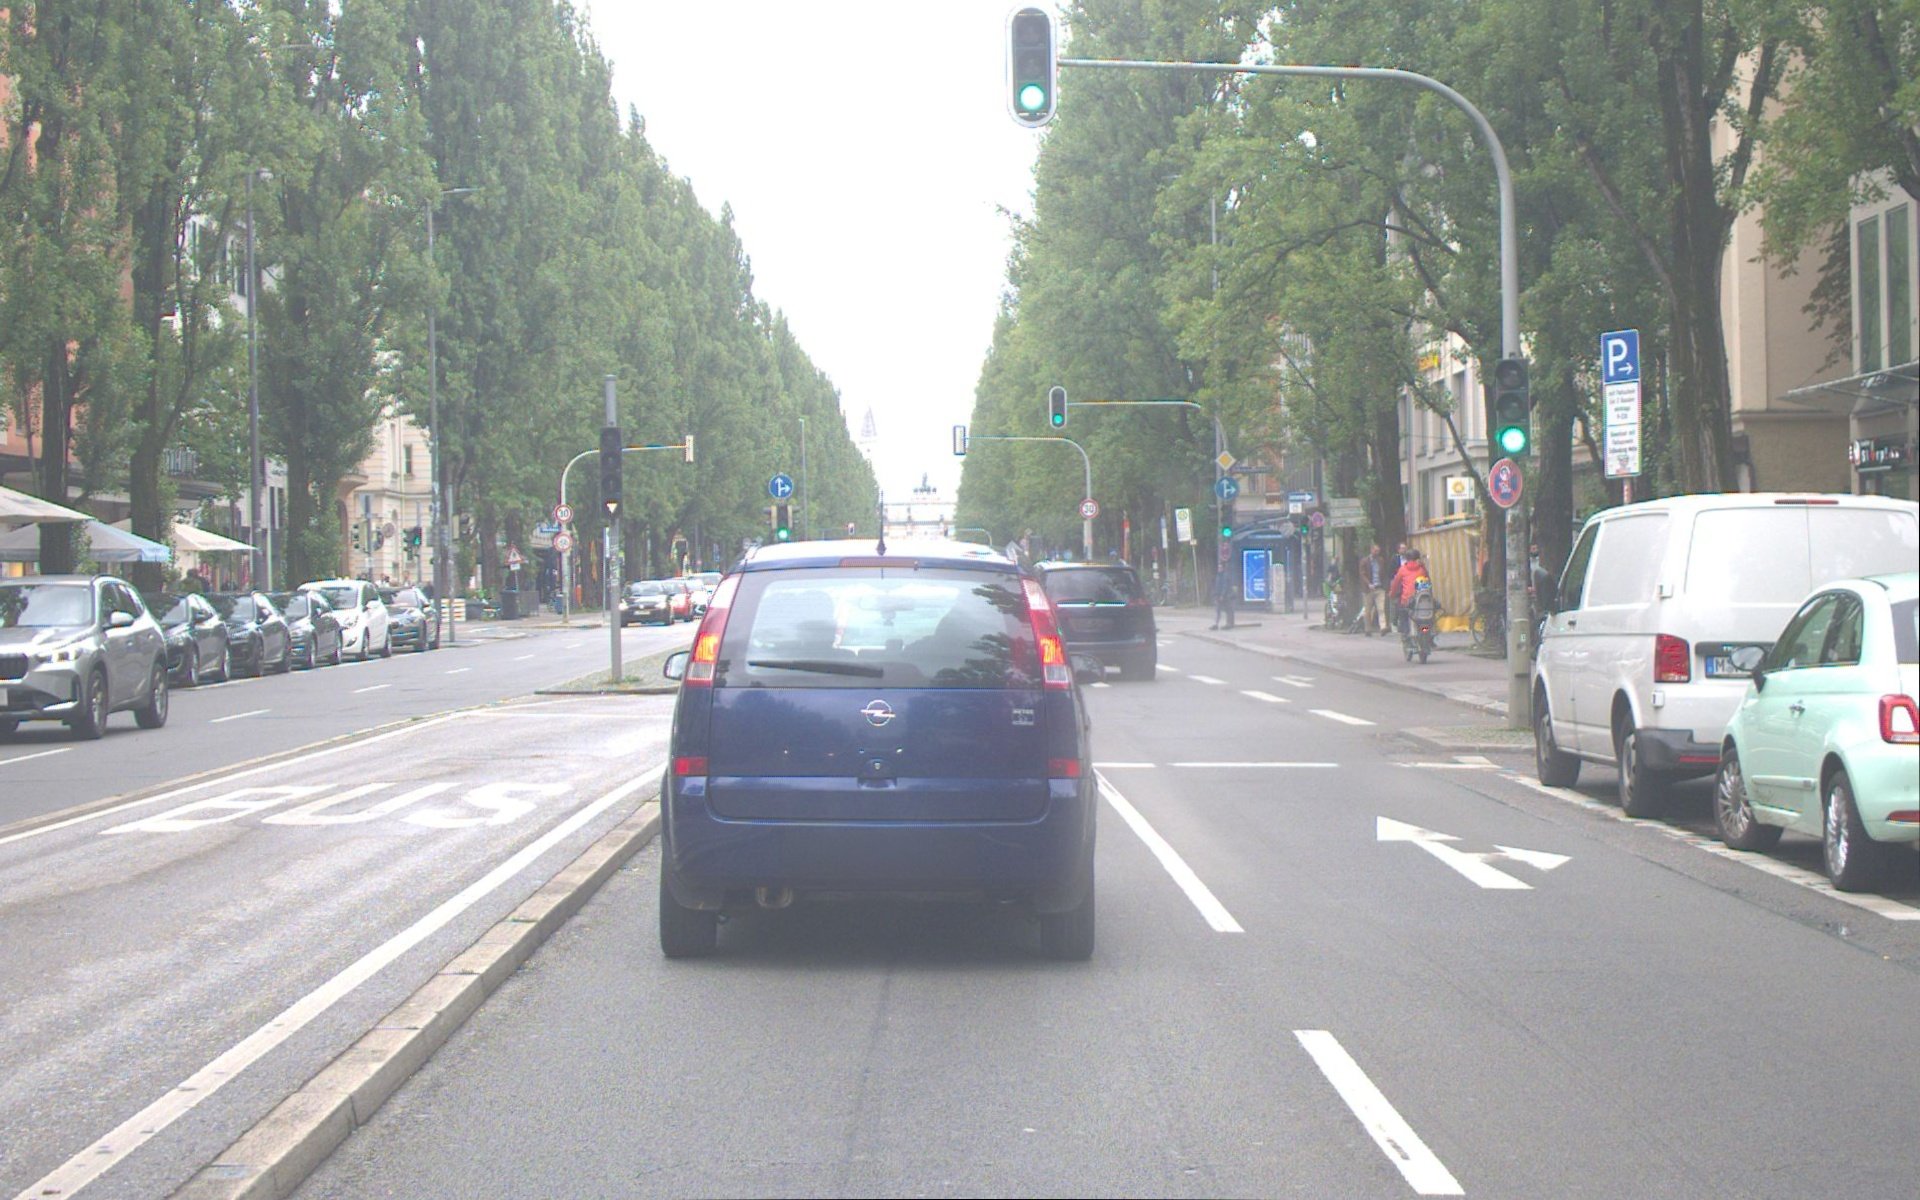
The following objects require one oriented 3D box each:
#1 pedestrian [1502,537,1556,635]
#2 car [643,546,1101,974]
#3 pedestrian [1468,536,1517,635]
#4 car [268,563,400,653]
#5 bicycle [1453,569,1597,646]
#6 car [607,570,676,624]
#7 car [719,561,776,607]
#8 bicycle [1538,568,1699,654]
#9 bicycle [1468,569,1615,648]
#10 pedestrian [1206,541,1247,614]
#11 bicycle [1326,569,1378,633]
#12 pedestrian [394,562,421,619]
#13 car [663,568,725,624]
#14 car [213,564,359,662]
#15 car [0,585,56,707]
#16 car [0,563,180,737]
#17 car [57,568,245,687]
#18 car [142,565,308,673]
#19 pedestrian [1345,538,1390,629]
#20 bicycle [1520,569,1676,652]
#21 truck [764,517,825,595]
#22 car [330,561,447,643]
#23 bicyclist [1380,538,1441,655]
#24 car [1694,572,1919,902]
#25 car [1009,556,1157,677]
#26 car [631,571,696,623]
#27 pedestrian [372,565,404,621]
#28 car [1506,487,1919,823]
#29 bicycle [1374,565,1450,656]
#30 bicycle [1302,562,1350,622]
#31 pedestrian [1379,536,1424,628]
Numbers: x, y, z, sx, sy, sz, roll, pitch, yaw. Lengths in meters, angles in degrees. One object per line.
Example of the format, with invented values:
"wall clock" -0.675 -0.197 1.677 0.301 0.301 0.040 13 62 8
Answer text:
"pedestrian" 10.706 -0.262 64.674 0.719 1.820 0.888 1 0 -10
"car" -0.333 0.561 14.555 1.671 1.563 4.000 0 1 0
"pedestrian" 9.936 -0.269 64.171 0.636 1.820 0.888 1 0 -10
"car" -12.461 0.140 68.653 1.866 1.660 4.120 -2 1 -1
"bicycle" 9.286 0.123 56.554 2.227 1.200 0.626 -1 1 -2
"car" -10.215 -0.125 110.492 1.866 1.660 4.120 -1 1 -1
"car" -7.105 -0.549 115.248 1.735 1.460 3.365 -1 1 -1
"bicycle" 9.694 0.161 50.656 2.227 1.200 0.626 -1 1 -2
"bicycle" 9.326 0.133 55.176 2.227 1.200 0.626 -1 1 -2
"pedestrian" 6.557 -0.550 84.494 0.882 1.760 0.770 -1 0 -3
"bicycle" 8.426 0.009 73.937 0.772 1.344 2.449 -1 1 -1
"pedestrian" -17.233 -0.311 107.211 0.767 1.760 0.885 -1 1 -11
"car" -9.804 -0.172 126.819 1.993 2.007 4.000 -1 1 -1
"car" -12.384 0.211 63.392 1.866 1.660 4.120 -2 1 -1
"car" -12.185 0.580 40.916 1.733 1.421 4.143 -2 1 -1
"car" -9.298 0.469 34.955 1.770 1.629 4.456 -2 1 -1
"car" -12.287 0.385 52.450 1.866 1.660 4.120 -2 1 -1
"car" -12.322 0.294 57.866 1.866 1.660 4.120 -2 1 -1
"pedestrian" 8.170 -0.330 69.004 0.636 1.820 0.888 1 0 -10
"bicycle" 9.689 0.156 52.263 2.227 1.200 0.626 -1 1 -2
"truck" -7.295 -1.964 152.360 2.383 3.335 7.111 -1 1 -1
"car" -12.587 0.022 75.928 1.866 1.660 4.120 -2 1 -1
"bicyclist" 6.902 -0.057 52.696 0.767 1.760 0.885 -1 1 -1
"car" 4.829 0.602 17.259 1.541 1.487 3.523 0 0 0
"car" 1.666 0.193 47.858 1.896 1.616 4.000 0 1 0
"car" -10.053 -0.116 116.843 1.866 1.660 4.120 -1 1 -1
"pedestrian" -18.142 -0.220 109.104 0.767 1.760 0.885 -1 1 -25
"car" 4.837 0.288 22.272 1.787 1.939 4.731 0 1 -1
"bicycle" 6.907 0.144 52.630 0.772 1.344 2.449 -1 1 -1
"bicycle" 8.395 -0.203 78.875 0.772 1.344 2.449 -1 1 -1
"pedestrian" 8.907 -0.361 69.381 0.636 1.820 0.888 1 0 -10
